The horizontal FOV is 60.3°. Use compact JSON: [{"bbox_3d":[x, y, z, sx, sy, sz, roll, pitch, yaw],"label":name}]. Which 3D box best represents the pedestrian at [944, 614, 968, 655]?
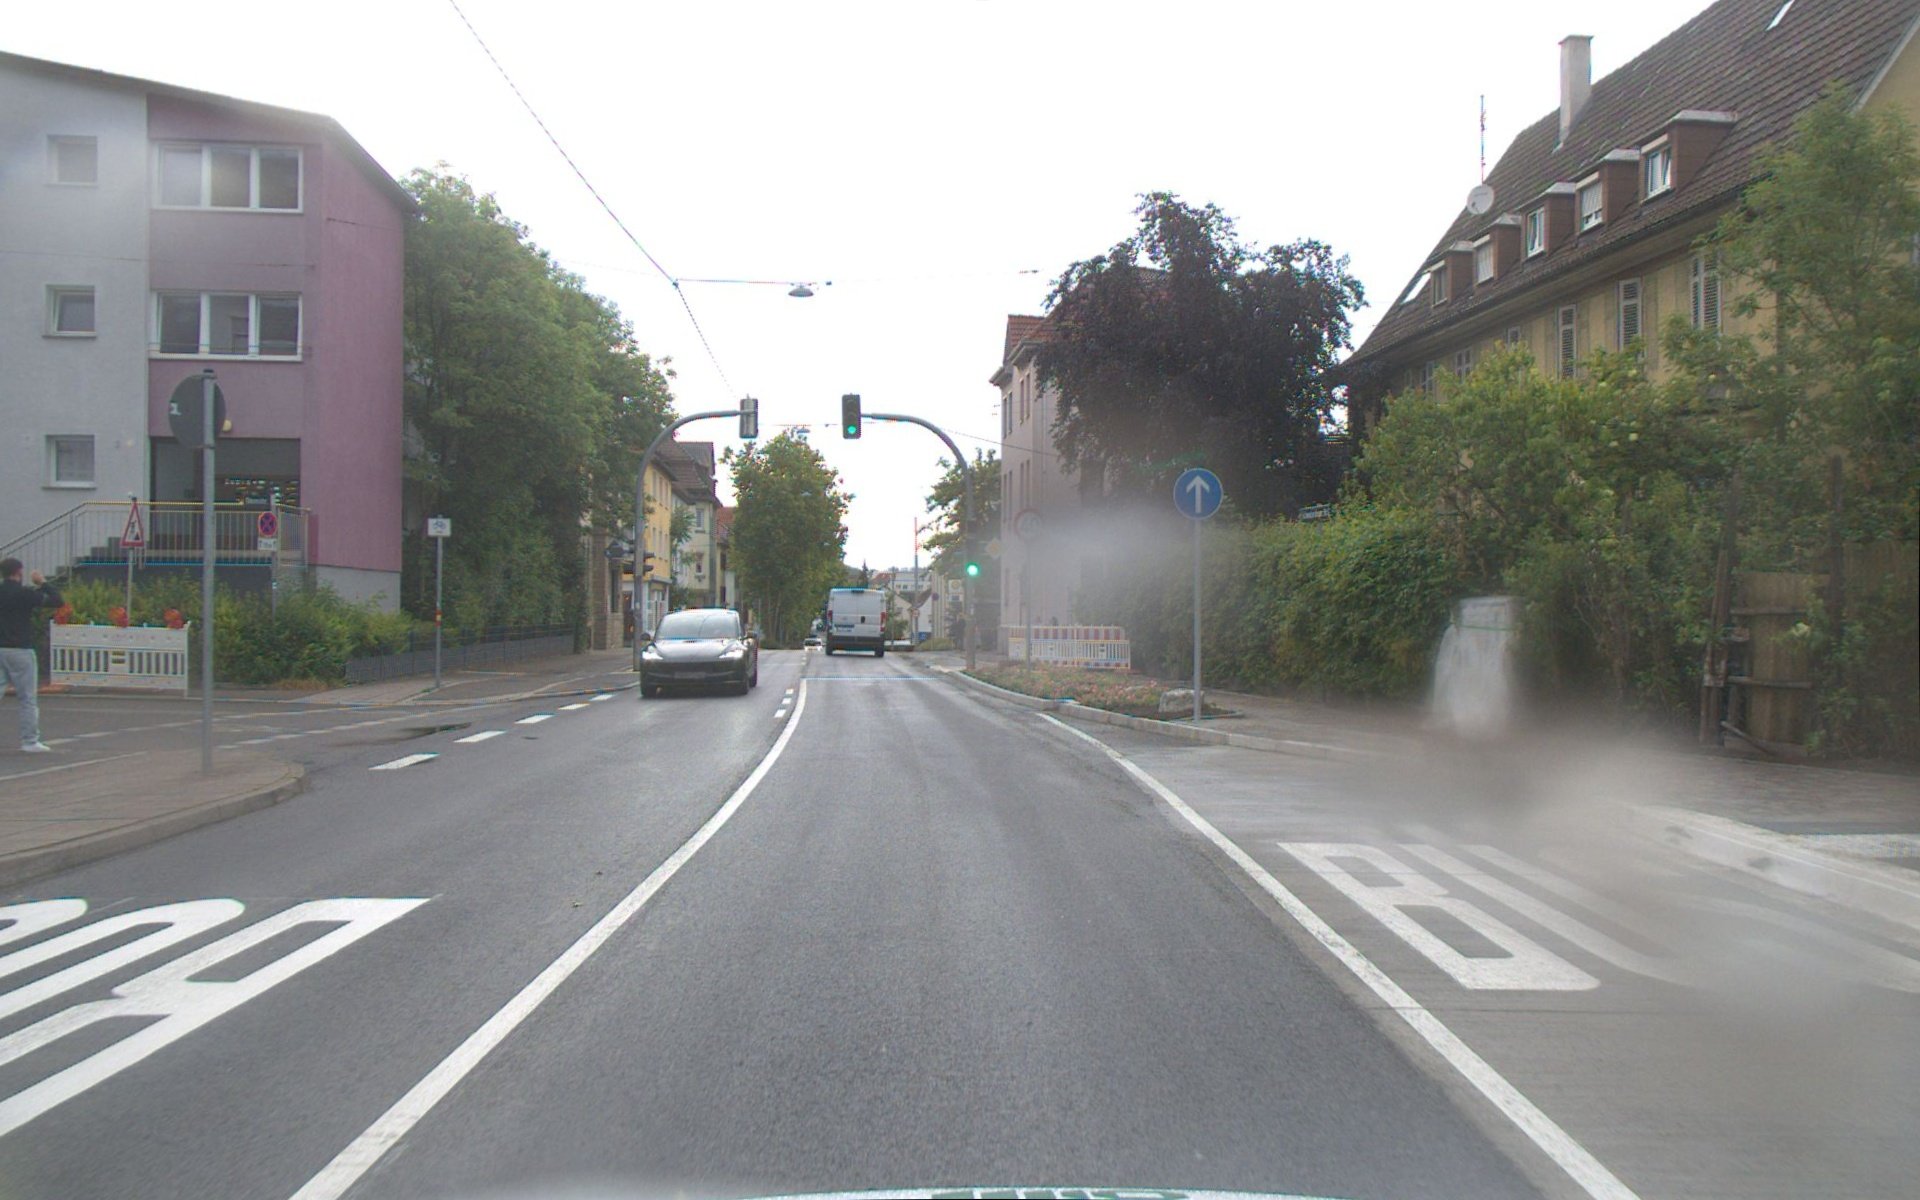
[{"bbox_3d":[-0.178,1.491,71.335,0.630,1.740,0.739,-1,-2,-38],"label":"pedestrian"}]

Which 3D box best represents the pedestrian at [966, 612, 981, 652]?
[{"bbox_3d":[0.589,1.389,72.564,0.437,1.738,0.557,-3,-1,22],"label":"pedestrian"}]

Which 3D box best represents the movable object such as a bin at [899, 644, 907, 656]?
[{"bbox_3d":[-4.717,4.082,136.061,0.607,0.953,0.685,-3,-2,-4],"label":"movable object such as a bin"}]

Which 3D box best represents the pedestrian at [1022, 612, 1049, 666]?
[{"bbox_3d":[2.368,1.217,51.960,0.768,1.671,1.222,1,-2,-1],"label":"pedestrian"}]

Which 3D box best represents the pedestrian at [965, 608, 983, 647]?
[{"bbox_3d":[0.628,1.268,75.652,0.648,1.772,0.827,-1,-1,-10],"label":"pedestrian"}]

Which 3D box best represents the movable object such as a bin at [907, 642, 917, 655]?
[{"bbox_3d":[-3.963,3.999,136.288,0.681,1.101,0.778,-3,-2,-4],"label":"movable object such as a bin"}]

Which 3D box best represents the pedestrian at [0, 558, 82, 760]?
[{"bbox_3d":[-9.255,0.556,16.179,0.845,1.915,1.042,0,0,-6],"label":"pedestrian"}]

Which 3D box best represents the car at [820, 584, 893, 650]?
[{"bbox_3d":[-3.669,0.602,57.873,2.302,2.198,4.770,0,-1,-7],"label":"car"}]

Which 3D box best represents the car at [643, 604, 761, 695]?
[{"bbox_3d":[-4.504,0.823,29.364,1.748,1.478,4.385,0,0,-5],"label":"car"}]

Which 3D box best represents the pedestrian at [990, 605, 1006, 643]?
[{"bbox_3d":[1.866,1.182,81.641,0.633,1.864,0.742,-1,-1,9],"label":"pedestrian"}]

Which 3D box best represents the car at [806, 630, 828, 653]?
[{"bbox_3d":[-12.375,3.620,143.460,1.845,1.903,4.448,0,-2,-4],"label":"car"}]

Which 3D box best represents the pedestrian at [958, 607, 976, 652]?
[{"bbox_3d":[0.293,1.289,71.882,0.477,1.908,0.632,-3,-1,27],"label":"pedestrian"}]

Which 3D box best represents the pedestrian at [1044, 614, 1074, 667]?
[{"bbox_3d":[3.028,1.230,50.623,0.857,1.588,1.049,1,-2,1],"label":"pedestrian"}]
